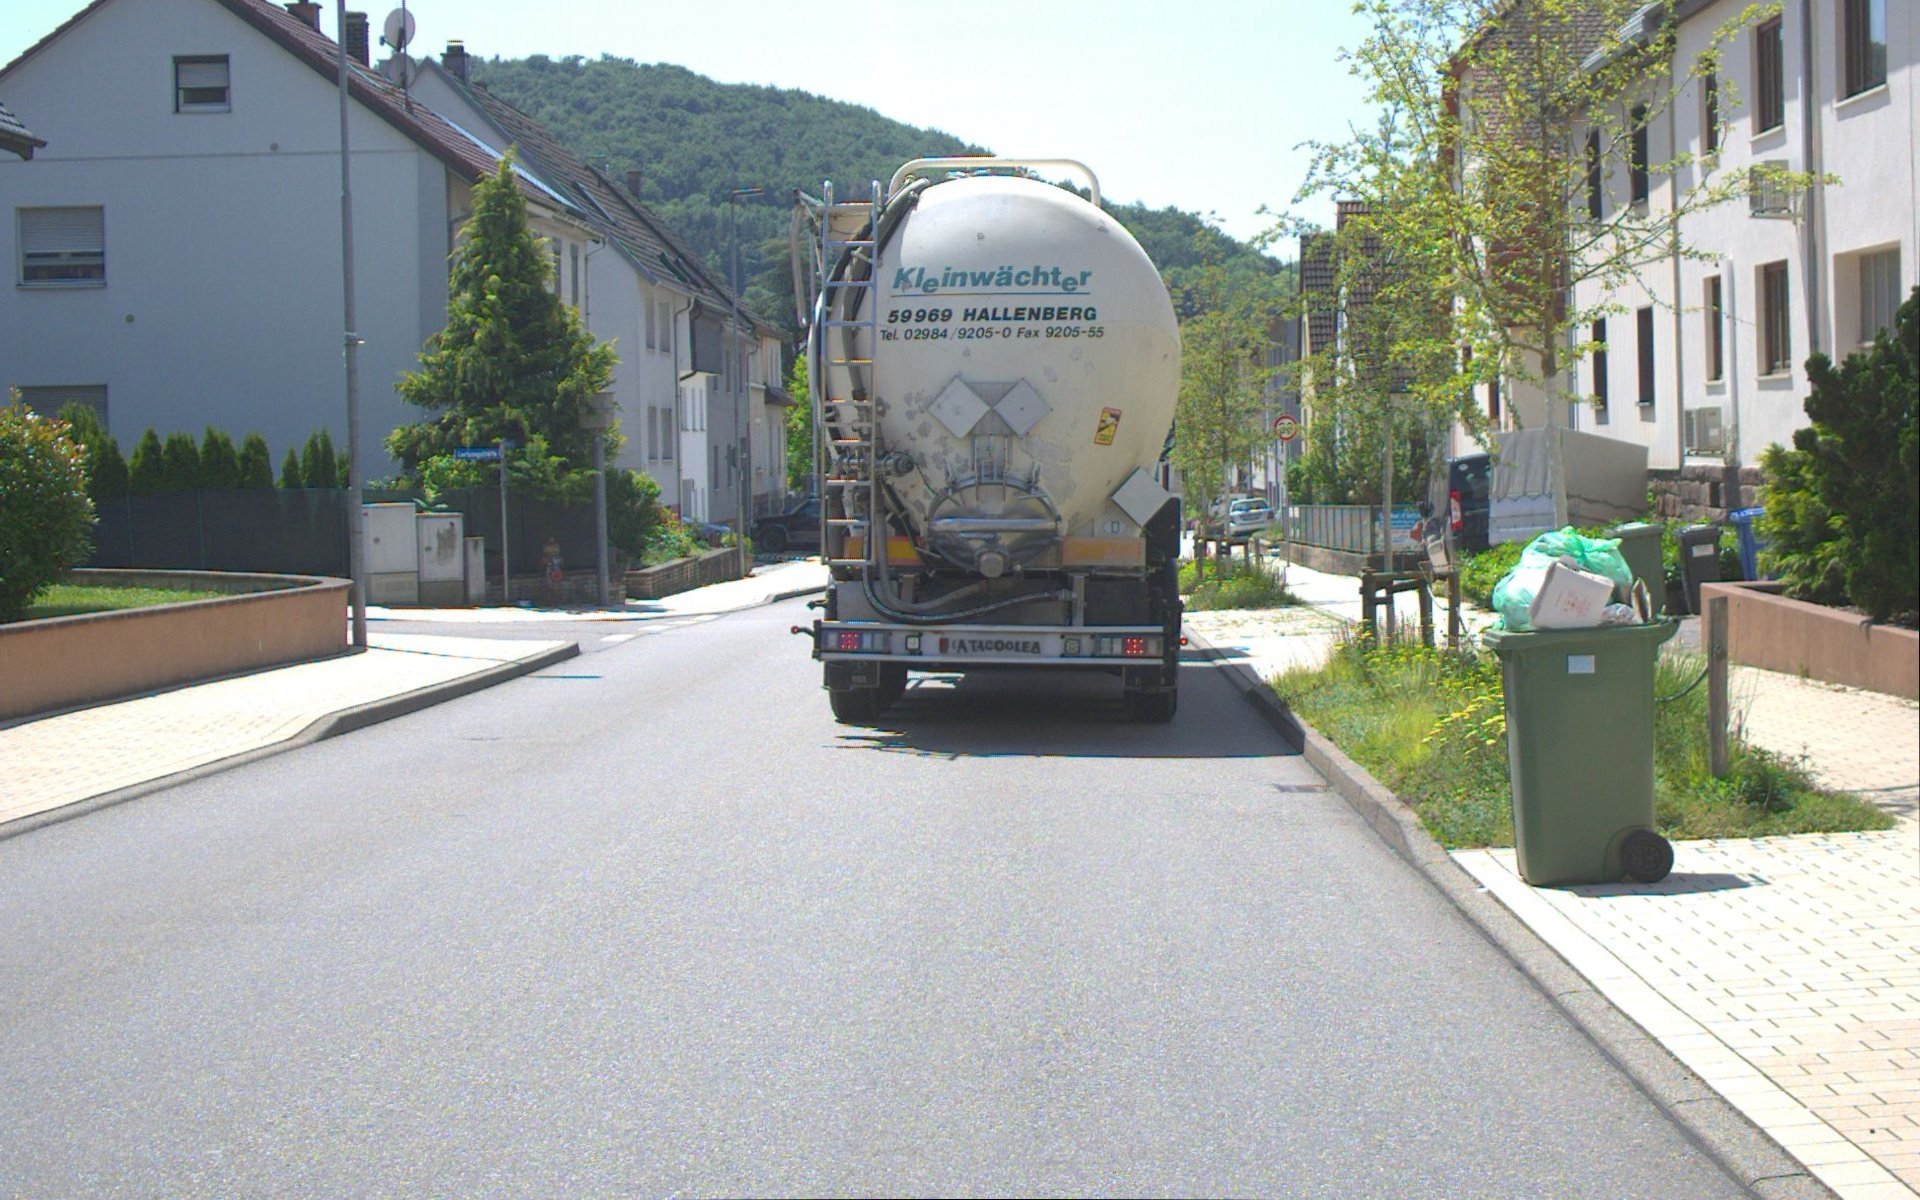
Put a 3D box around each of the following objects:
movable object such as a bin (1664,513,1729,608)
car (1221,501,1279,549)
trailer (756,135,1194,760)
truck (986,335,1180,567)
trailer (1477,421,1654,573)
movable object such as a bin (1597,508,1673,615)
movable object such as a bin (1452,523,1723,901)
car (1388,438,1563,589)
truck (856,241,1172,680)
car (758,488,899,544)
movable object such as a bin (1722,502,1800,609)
[{"bbox_3d":[8.060,-0.437,37.640,0.558,0.982,0.802,-5,1,9],"label":"movable object such as a bin"},{"bbox_3d":[10.121,-2.632,120.188,1.791,1.536,4.519,-4,1,3],"label":"car"},{"bbox_3d":[0.310,-1.143,27.149,2.796,3.987,10.324,0,2,2],"label":"trailer"},{"bbox_3d":[2.693,-3.372,79.337,3.910,4.878,9.797,-2,2,0],"label":"truck"},{"bbox_3d":[8.257,-1.400,46.805,1.323,2.007,2.268,1,2,44],"label":"trailer"},{"bbox_3d":[7.365,-0.425,37.557,0.684,1.111,0.812,-4,1,8],"label":"movable object such as a bin"},{"bbox_3d":[2.476,0.420,13.667,0.792,1.390,0.925,-5,1,0],"label":"movable object such as a bin"},{"bbox_3d":[7.702,-1.301,51.750,1.852,1.964,4.773,-6,1,2],"label":"car"},{"bbox_3d":[0.611,-1.354,33.914,2.808,3.923,6.099,0,2,3],"label":"truck"},{"bbox_3d":[-4.205,-2.688,110.233,4.395,1.744,1.878,0,2,1],"label":"car"},{"bbox_3d":[8.736,-0.490,37.540,0.685,1.102,0.862,-4,1,9],"label":"movable object such as a bin"}]
